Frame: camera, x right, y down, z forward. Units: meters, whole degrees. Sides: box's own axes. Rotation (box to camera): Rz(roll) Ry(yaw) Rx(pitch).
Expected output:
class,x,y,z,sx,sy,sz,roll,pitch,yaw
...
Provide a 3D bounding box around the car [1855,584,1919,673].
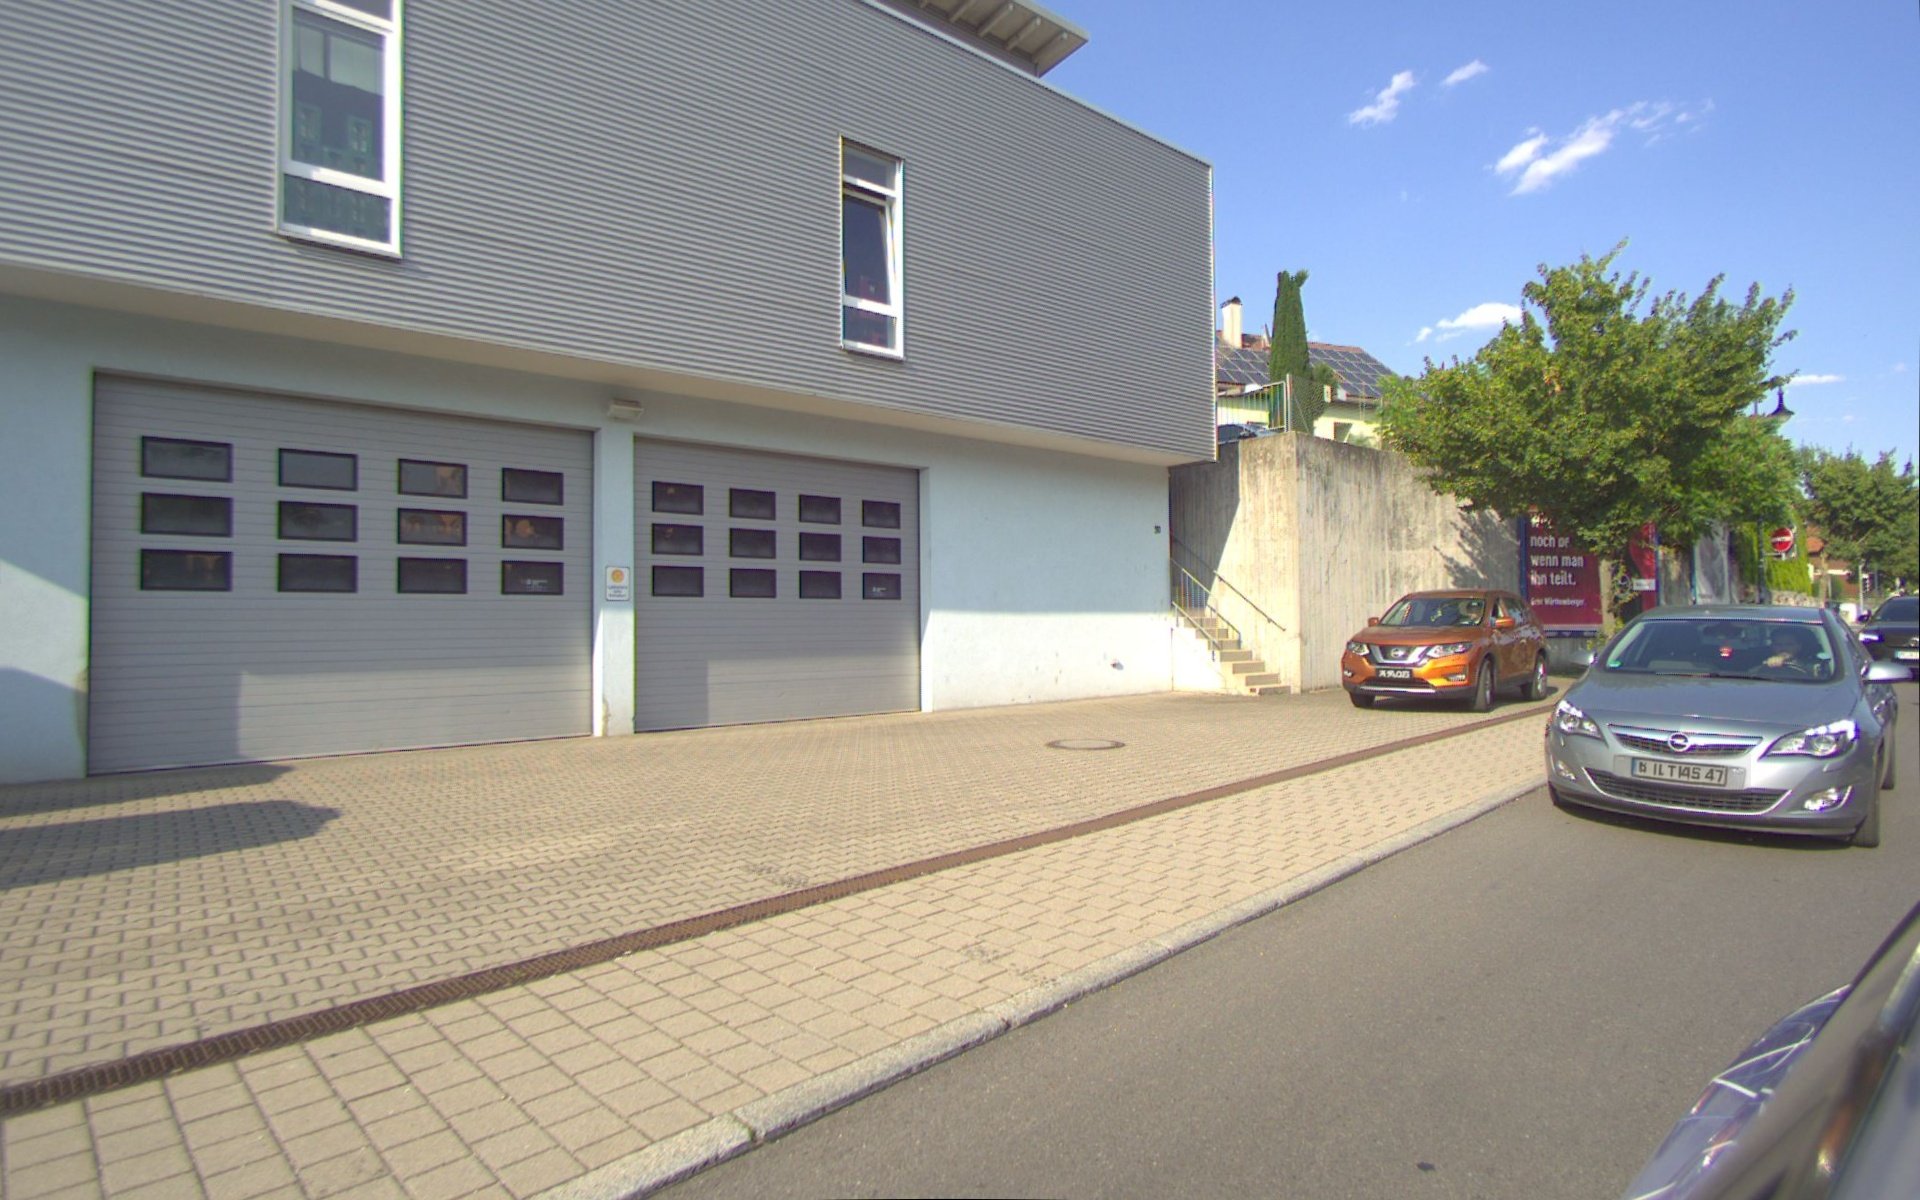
class,x,y,z,sx,sy,sz,roll,pitch,yaw
car,19.068,0.538,19.678,3.981,1.626,1.792,1,-1,-38

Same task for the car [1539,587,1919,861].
class,x,y,z,sx,sy,sz,roll,pitch,yaw
car,5.808,0.675,7.418,4.075,1.440,1.649,1,0,-44

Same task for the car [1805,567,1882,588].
class,x,y,z,sx,sy,sz,roll,pitch,yaw
car,67.670,-1.705,77.573,1.644,1.475,4.086,1,-1,-25

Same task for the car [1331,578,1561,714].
class,x,y,z,sx,sy,sz,roll,pitch,yaw
car,7.203,0.577,14.759,1.833,1.670,4.469,-1,-1,42
